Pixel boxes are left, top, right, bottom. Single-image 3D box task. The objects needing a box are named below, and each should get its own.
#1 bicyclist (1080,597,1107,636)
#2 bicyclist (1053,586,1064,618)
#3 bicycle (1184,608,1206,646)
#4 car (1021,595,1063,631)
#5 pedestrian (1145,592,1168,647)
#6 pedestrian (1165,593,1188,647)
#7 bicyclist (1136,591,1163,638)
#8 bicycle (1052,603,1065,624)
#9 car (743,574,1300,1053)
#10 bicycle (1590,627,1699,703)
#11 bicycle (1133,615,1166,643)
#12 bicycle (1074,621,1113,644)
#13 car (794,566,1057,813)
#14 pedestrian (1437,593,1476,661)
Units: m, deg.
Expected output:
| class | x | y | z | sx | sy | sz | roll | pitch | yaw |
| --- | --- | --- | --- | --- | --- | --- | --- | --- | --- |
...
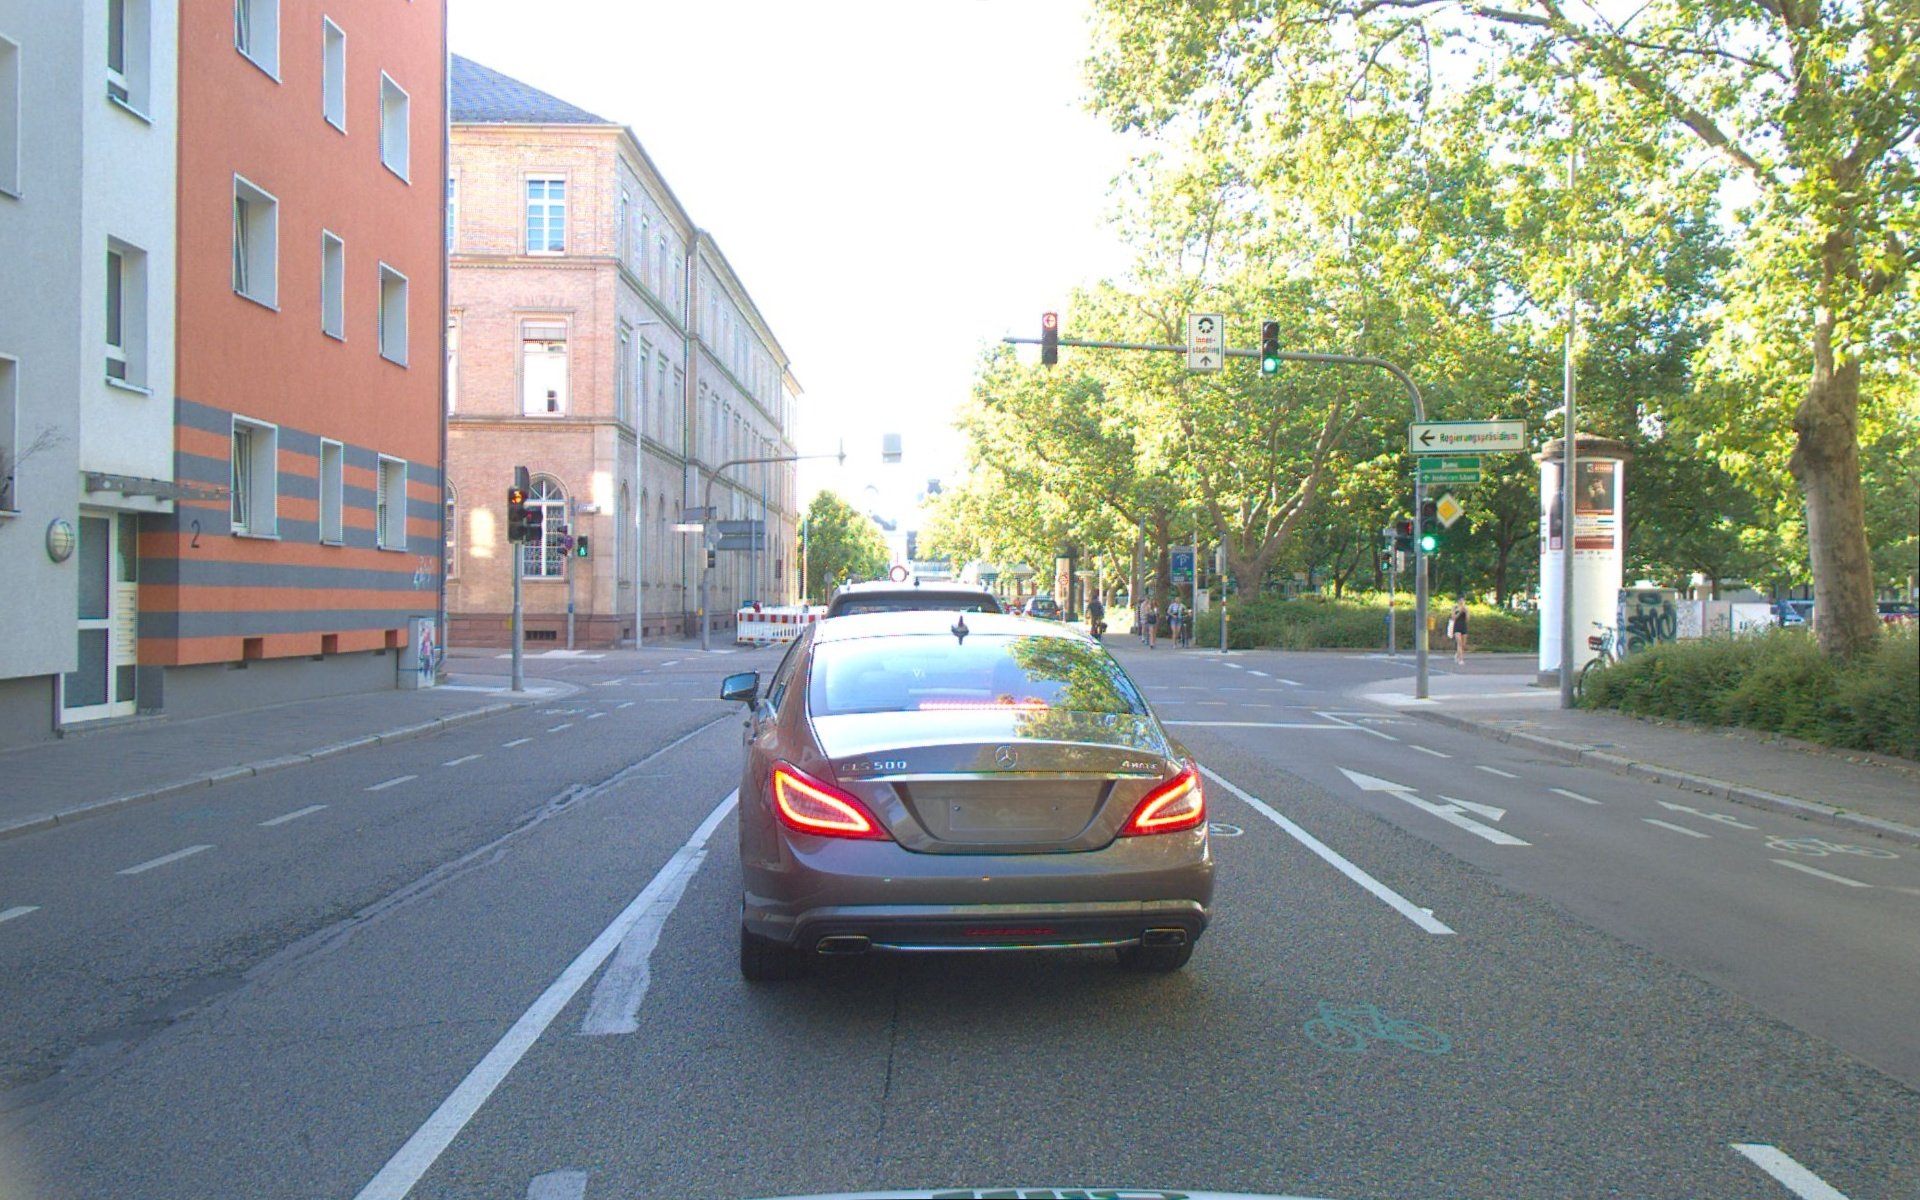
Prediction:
| class | x | y | z | sx | sy | sz | roll | pitch | yaw |
| --- | --- | --- | --- | --- | --- | --- | --- | --- | --- |
| bicyclist | 4.848 | 0.603 | 60.065 | 0.719 | 1.422 | 0.697 | 1 | -1 | 28 |
| bicyclist | 6.251 | 0.126 | 105.083 | 0.583 | 2.075 | 0.565 | 1 | -1 | -5 |
| bicycle | 7.813 | 0.896 | 54.964 | 0.472 | 1.223 | 1.606 | 1 | 0 | -1 |
| car | 4.180 | 0.637 | 84.618 | 1.823 | 1.794 | 4.481 | 1 | 0 | -1 |
| pedestrian | 6.604 | 0.646 | 55.588 | 0.623 | 1.828 | 0.698 | 1 | -1 | -5 |
| pedestrian | 7.250 | 0.678 | 55.381 | 0.623 | 1.791 | 0.698 | 1 | -1 | -5 |
| bicyclist | 6.788 | 0.528 | 59.194 | 0.808 | 1.646 | 0.957 | 1 | 0 | -1 |
| bicycle | 6.250 | 0.861 | 105.029 | 0.580 | 1.285 | 1.804 | 1 | 0 | -5 |
| car | -0.032 | 0.691 | 7.460 | 1.826 | 1.545 | 3.993 | 1 | 0 | -8 |
| bicycle | 9.873 | 0.927 | 23.833 | 1.868 | 1.046 | 0.633 | 1 | -1 | -39 |
| bicycle | 6.788 | 1.040 | 59.303 | 0.811 | 0.940 | 2.616 | 1 | 0 | -1 |
| bicycle | 4.862 | 1.180 | 60.110 | 0.709 | 0.805 | 1.925 | 1 | 0 | 27 |
| car | -0.268 | 0.620 | 13.587 | 1.823 | 1.712 | 3.999 | 1 | 0 | -1 |
| pedestrian | 11.758 | 0.638 | 39.190 | 0.622 | 1.572 | 0.910 | 1 | 0 | 0 |
